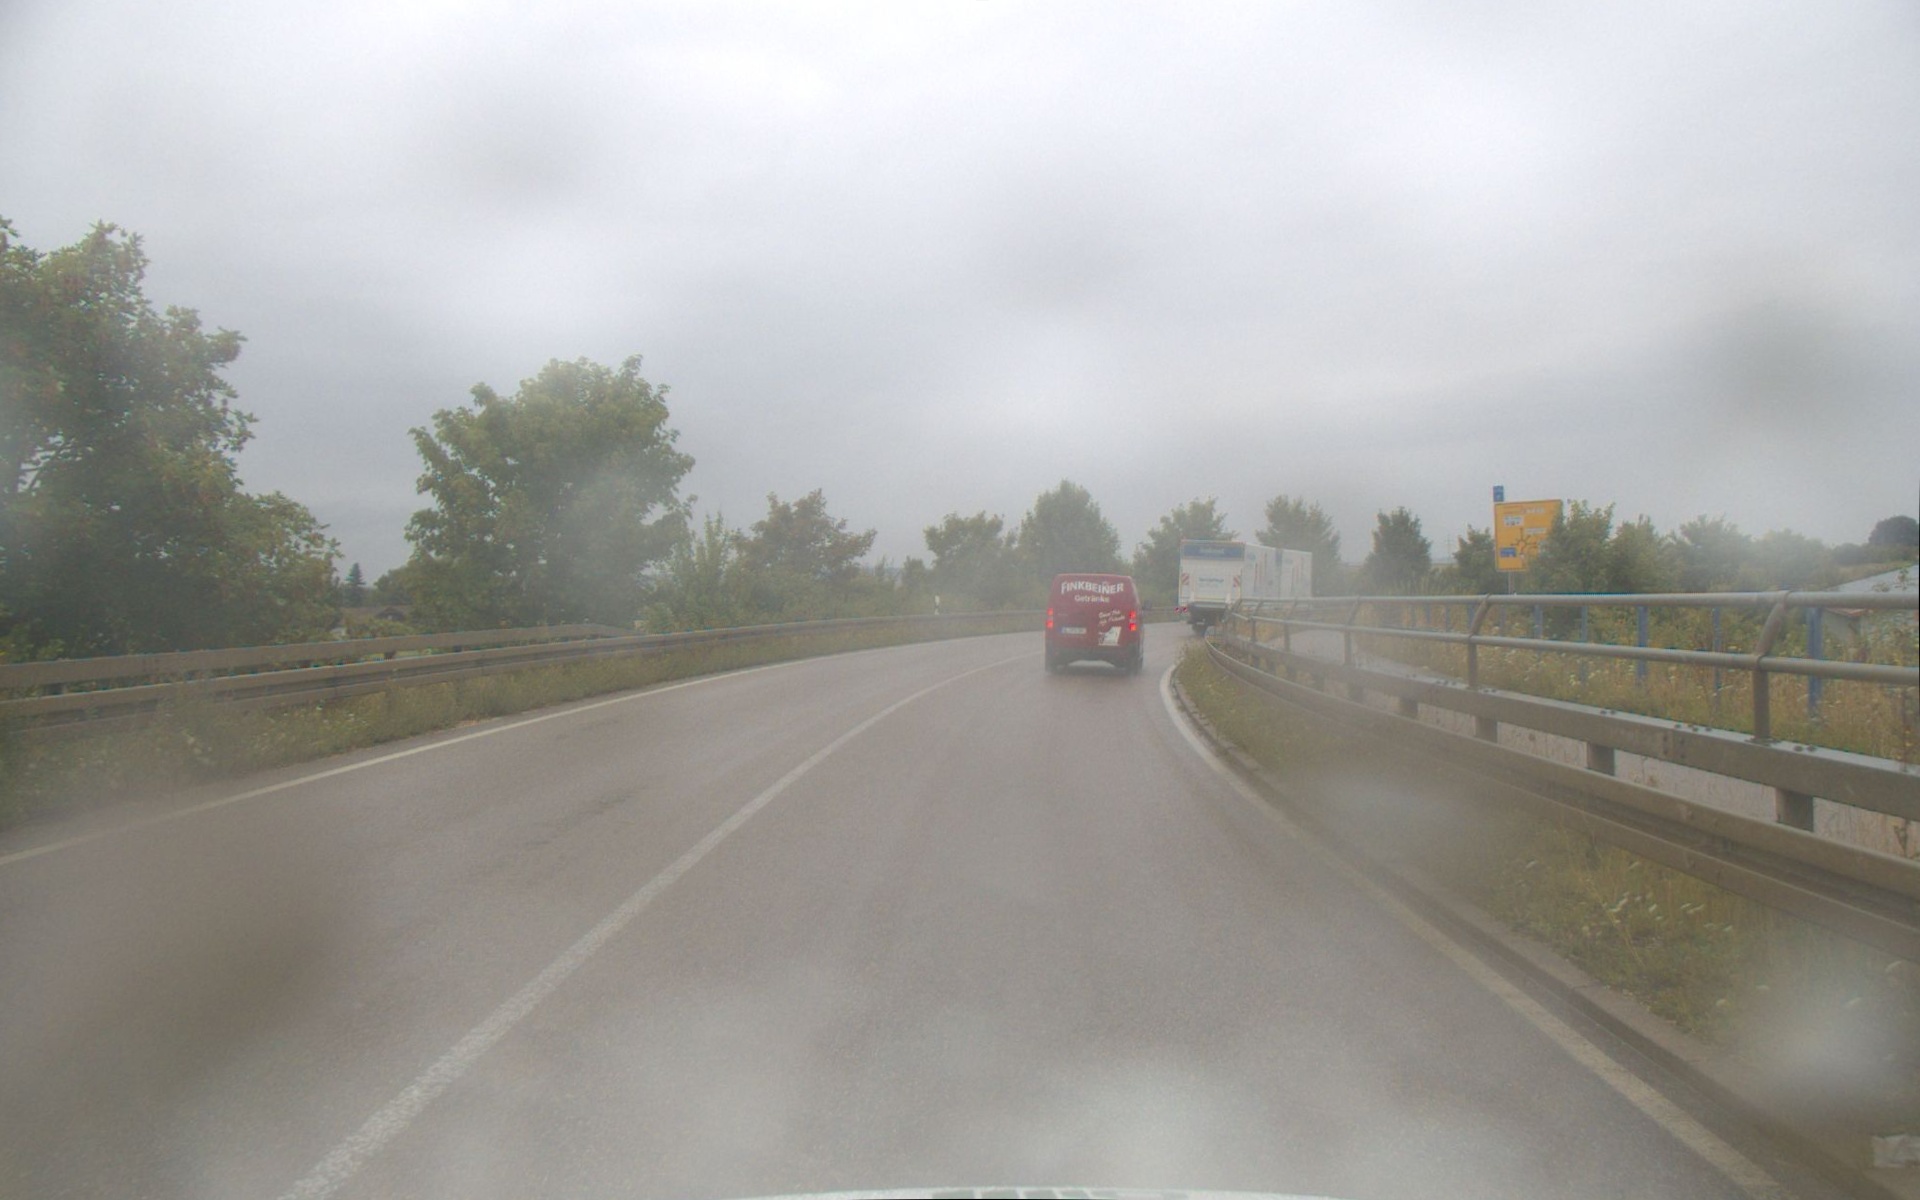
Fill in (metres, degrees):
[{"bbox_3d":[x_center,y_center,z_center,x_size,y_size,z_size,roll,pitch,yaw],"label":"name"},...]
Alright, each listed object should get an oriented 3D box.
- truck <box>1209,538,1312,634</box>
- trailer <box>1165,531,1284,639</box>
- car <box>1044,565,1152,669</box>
[{"bbox_3d":[13.714,-0.626,74.867,3.135,3.990,8.742,2,1,19],"label":"truck"},{"bbox_3d":[10.793,-0.576,66.611,3.135,3.990,8.742,2,1,19],"label":"trailer"},{"bbox_3d":[2.834,0.286,33.231,1.951,1.959,4.147,0,1,8],"label":"car"}]
